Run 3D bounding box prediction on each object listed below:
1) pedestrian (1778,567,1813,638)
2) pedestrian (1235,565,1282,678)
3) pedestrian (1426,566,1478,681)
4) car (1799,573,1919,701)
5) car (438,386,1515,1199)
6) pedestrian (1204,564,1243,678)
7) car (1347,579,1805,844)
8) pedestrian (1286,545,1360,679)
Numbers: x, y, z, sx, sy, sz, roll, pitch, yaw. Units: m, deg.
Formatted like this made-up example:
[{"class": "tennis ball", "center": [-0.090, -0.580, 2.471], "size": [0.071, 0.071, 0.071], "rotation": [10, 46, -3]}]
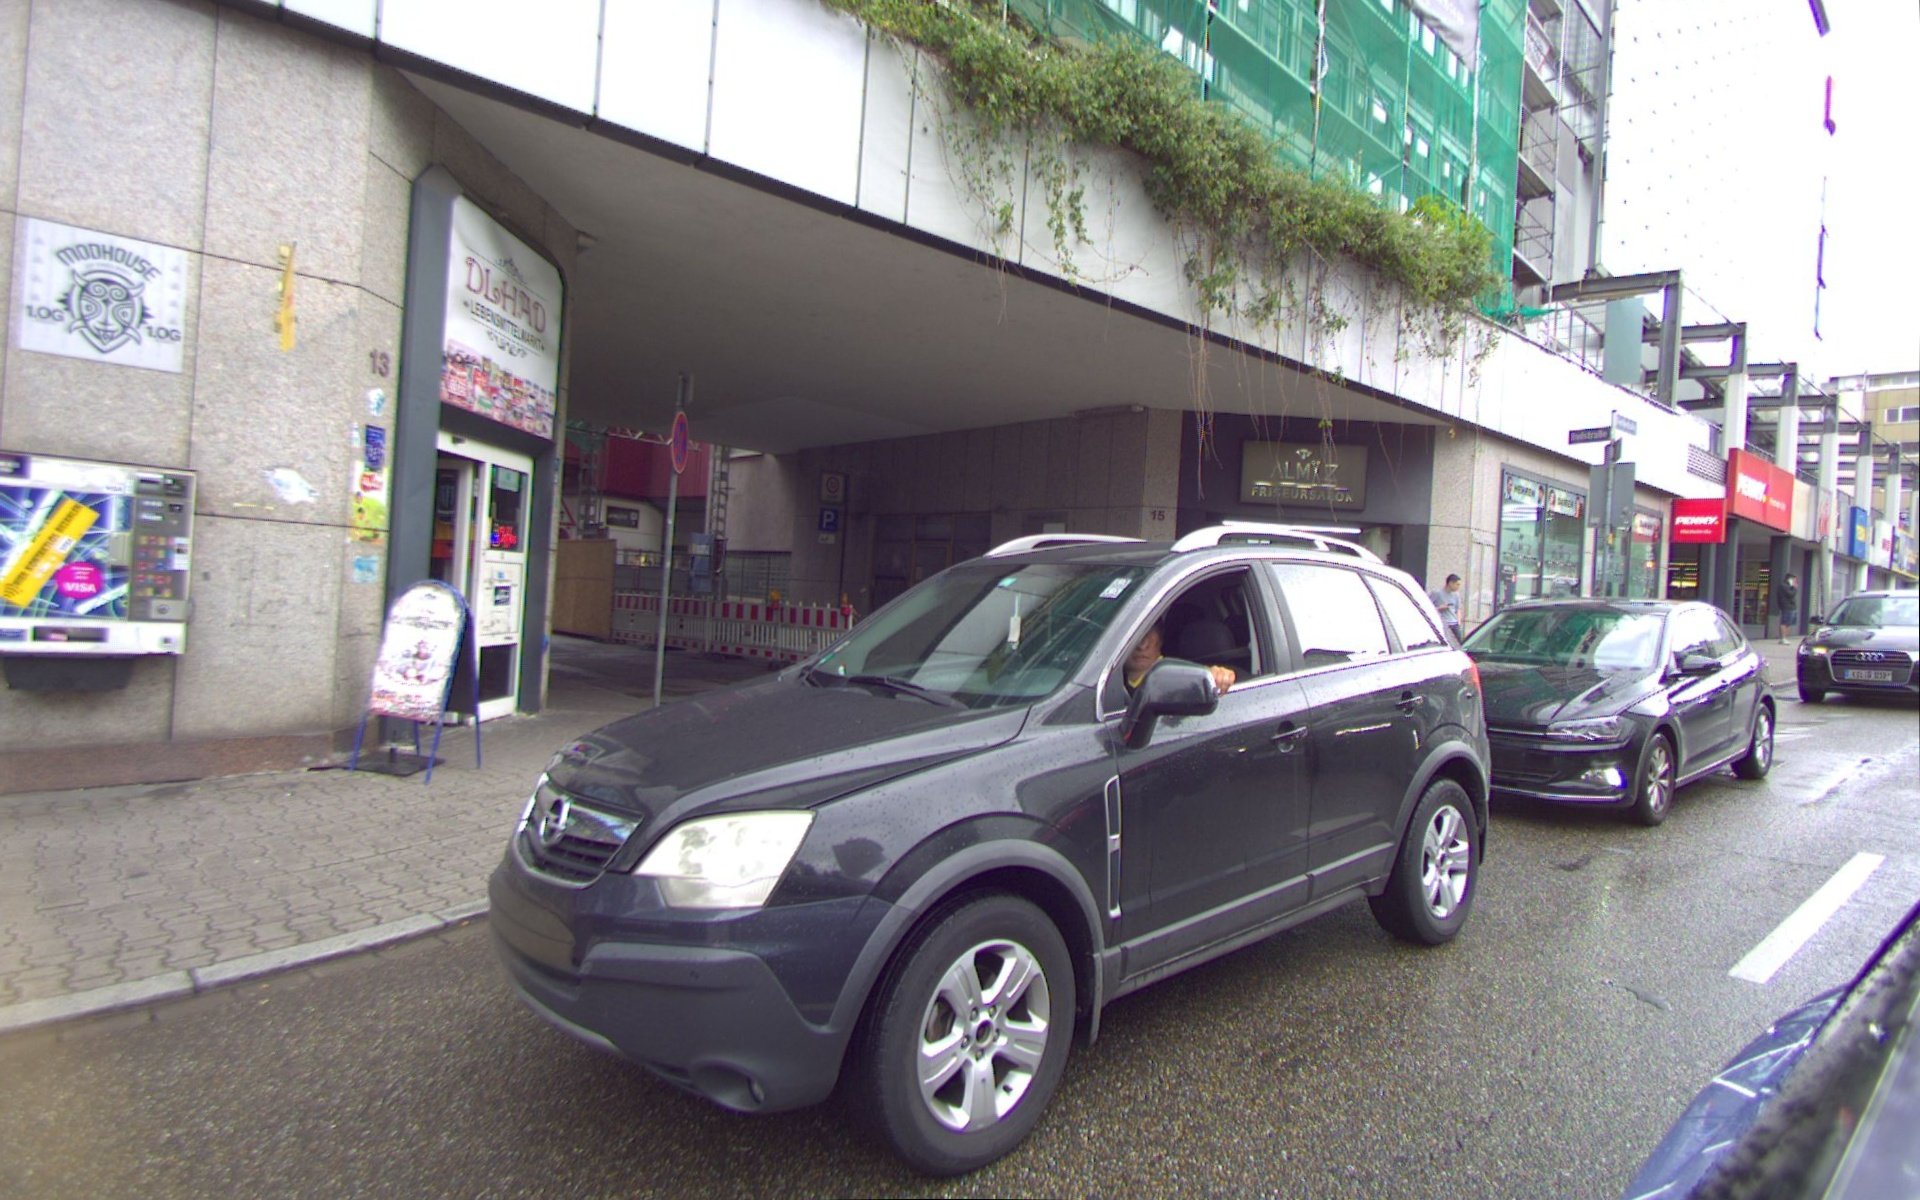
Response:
[{"class": "pedestrian", "center": [20.216, 0.045, 24.491], "size": [0.570, 1.699, 0.509], "rotation": [-1, 3, -42]}, {"class": "pedestrian", "center": [4.362, 0.303, 14.789], "size": [0.630, 1.615, 0.574], "rotation": [0, 1, 17]}, {"class": "pedestrian", "center": [7.373, 0.336, 15.178], "size": [0.631, 1.663, 0.728], "rotation": [0, 1, 22]}, {"class": "car", "center": [13.608, 0.456, 14.391], "size": [4.089, 1.628, 1.841], "rotation": [-1, 1, -39]}, {"class": "car", "center": [0.411, 0.490, 3.984], "size": [4.089, 1.788, 1.763], "rotation": [1, 0, -40]}, {"class": "pedestrian", "center": [4.062, 0.310, 15.607], "size": [0.474, 1.729, 0.467], "rotation": [0, 0, 1]}, {"class": "car", "center": [4.888, 0.658, 7.807], "size": [4.088, 1.523, 1.759], "rotation": [1, 0, -39]}, {"class": "pedestrian", "center": [5.160, 0.155, 14.418], "size": [0.730, 1.838, 0.773], "rotation": [2, 2, 3]}]
